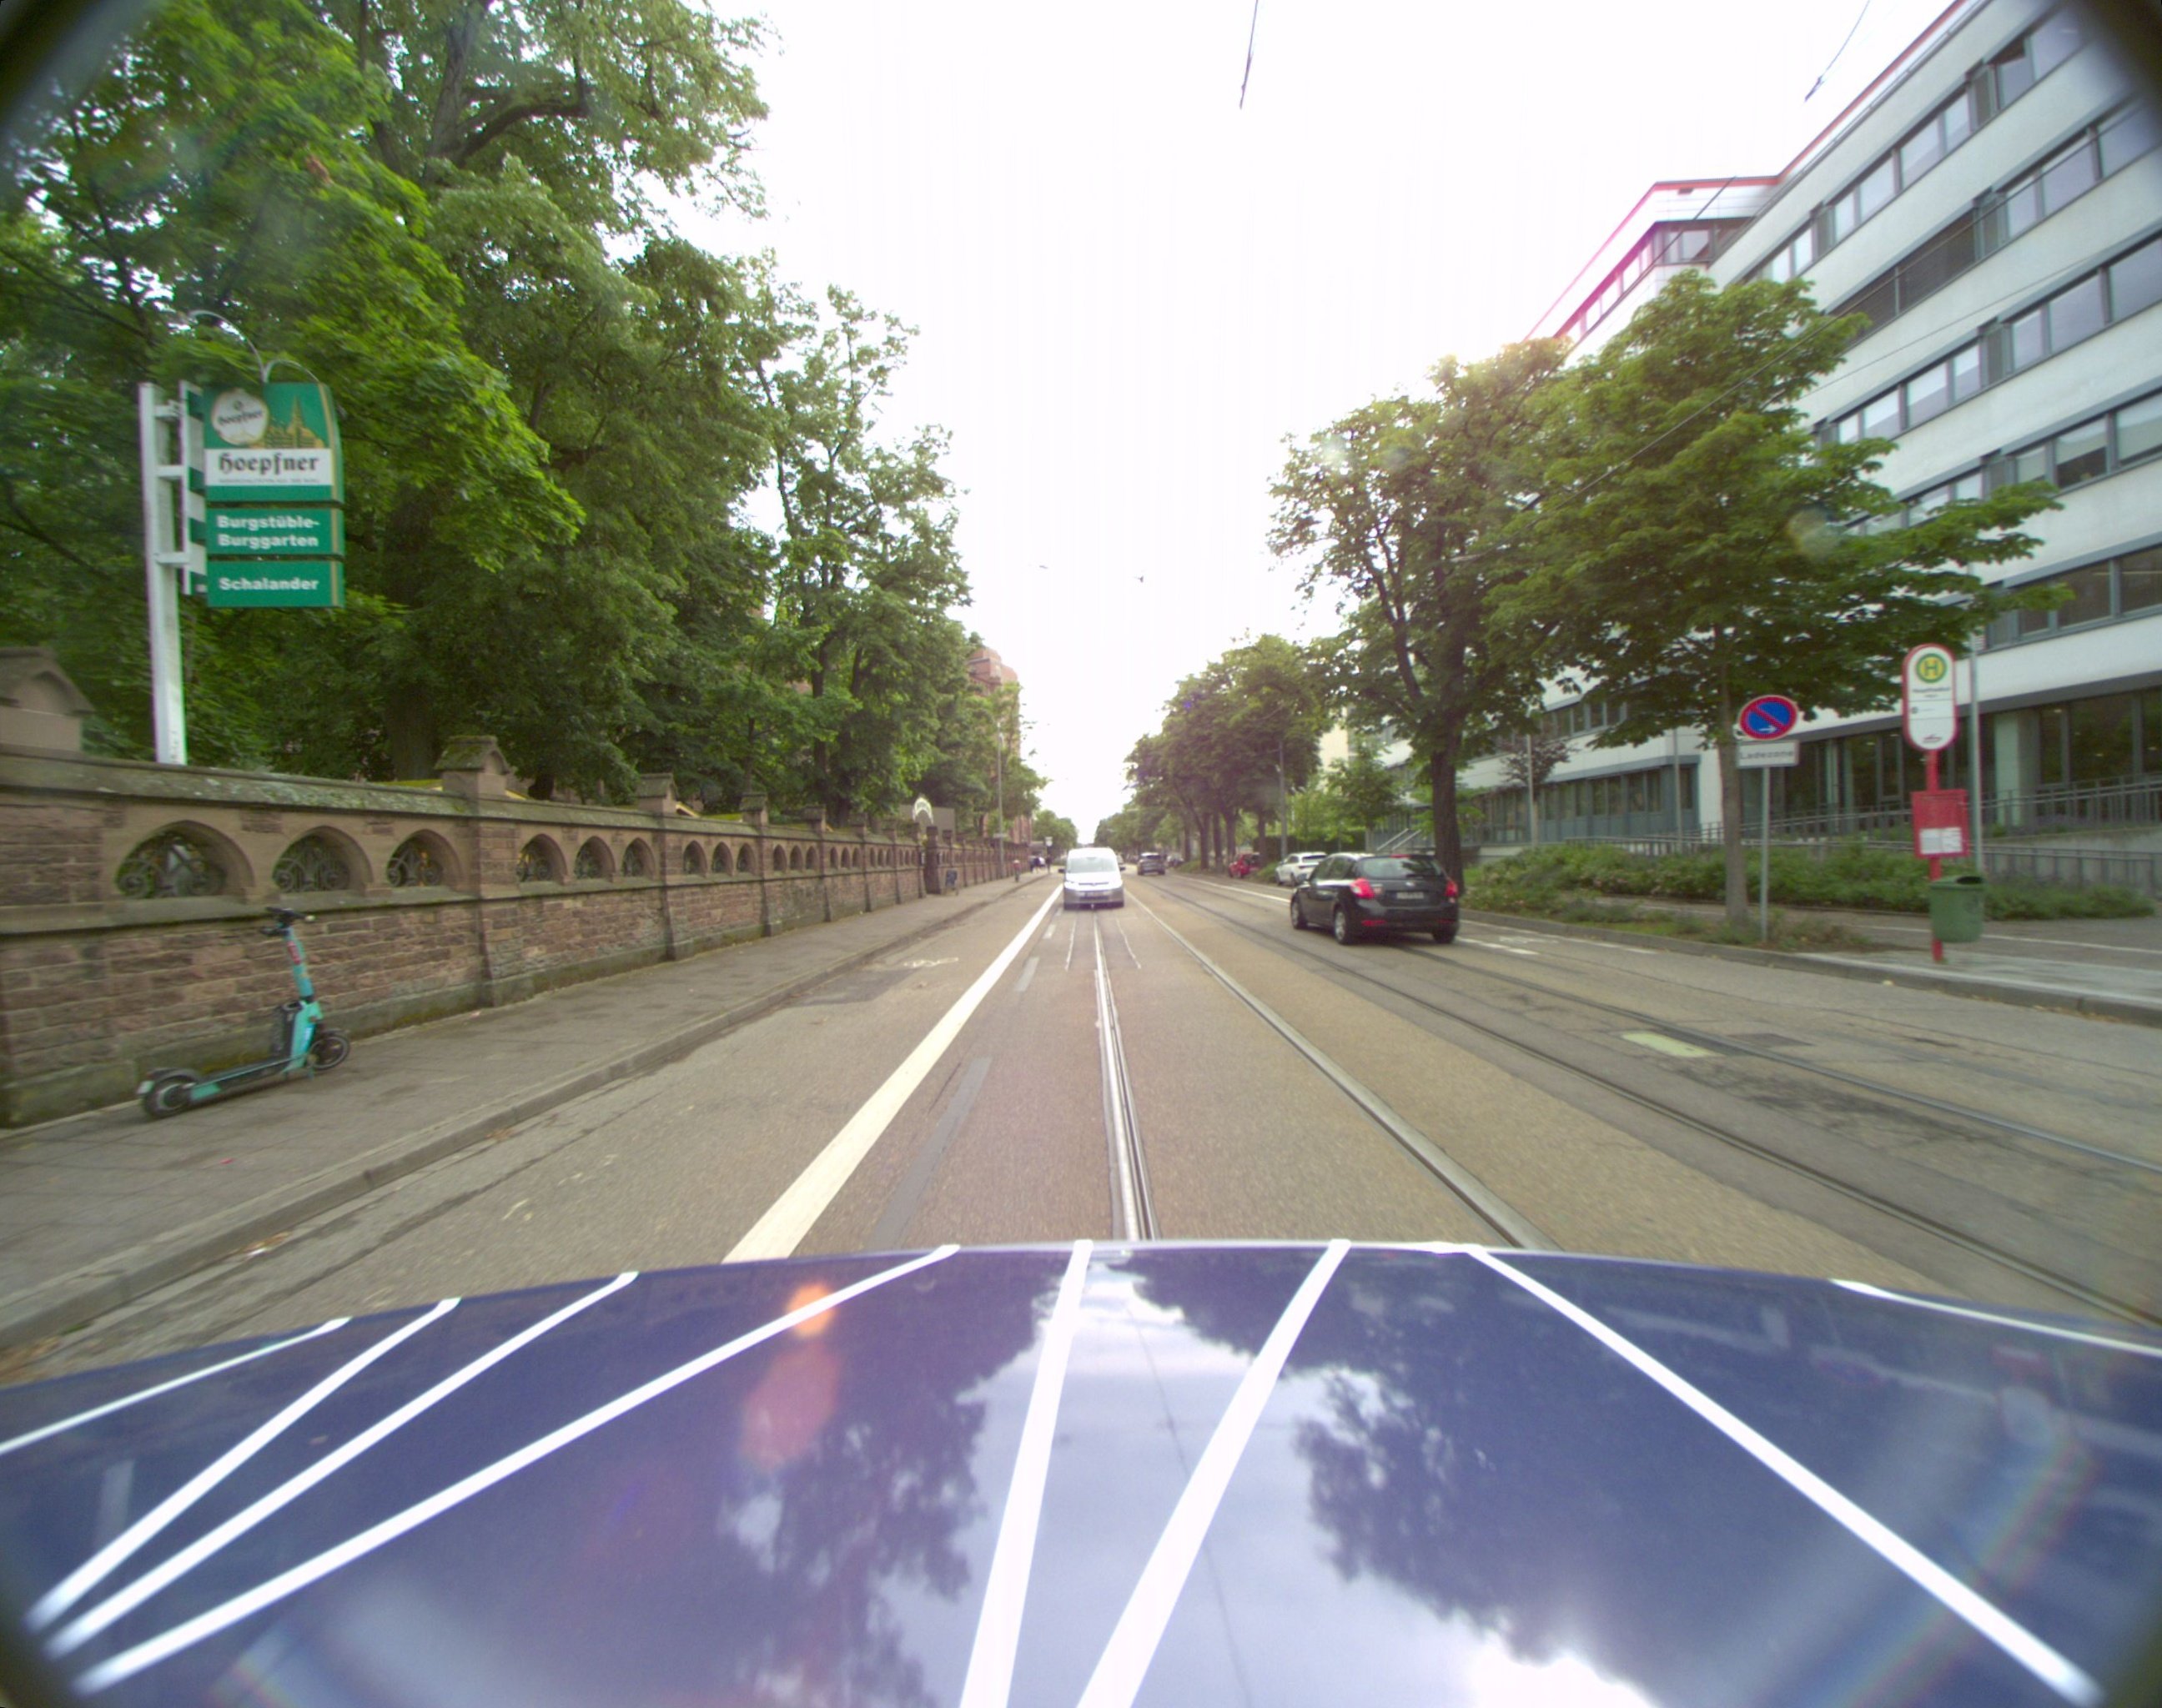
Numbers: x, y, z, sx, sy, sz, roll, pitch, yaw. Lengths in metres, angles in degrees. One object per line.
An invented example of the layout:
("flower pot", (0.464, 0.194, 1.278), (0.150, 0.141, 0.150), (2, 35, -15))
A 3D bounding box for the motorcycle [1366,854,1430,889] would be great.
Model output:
("motorcycle", (10.536, 0.573, 25.293), (1.793, 1.044, 0.732), (-3, 1, -6))

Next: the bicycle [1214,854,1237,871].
("bicycle", (10.380, 0.601, 54.552), (1.473, 1.134, 0.617), (-3, 1, 0))

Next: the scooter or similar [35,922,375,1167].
("scooter or similar", (-5.583, 1.134, 4.976), (0.578, 1.232, 1.410), (1, 1, 1))

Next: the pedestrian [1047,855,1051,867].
("pedestrian", (-4.173, 0.891, 98.839), (0.529, 1.548, 0.489), (2, 1, -2))

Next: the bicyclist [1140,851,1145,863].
("bicyclist", (8.622, 0.404, 106.558), (0.636, 1.528, 0.955), (-3, 1, 5))

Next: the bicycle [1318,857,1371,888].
("bicycle", (10.006, 0.702, 28.868), (1.811, 1.094, 0.632), (-1, 1, -5))

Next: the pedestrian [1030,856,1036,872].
("pedestrian", (-4.859, 0.991, 76.364), (0.559, 1.646, 0.771), (0, 1, -2))

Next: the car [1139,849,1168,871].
("car", (5.410, 0.447, 57.404), (1.846, 1.644, 4.389), (0, 0, 1))

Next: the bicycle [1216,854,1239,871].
("bicycle", (10.422, 0.605, 54.047), (1.473, 1.134, 0.617), (-2, 1, 0))

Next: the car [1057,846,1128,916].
("car", (0.356, 0.724, 23.396), (1.850, 1.797, 4.936), (-3, 1, 1))

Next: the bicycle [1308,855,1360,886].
("bicycle", (9.923, 0.650, 29.845), (1.868, 1.180, 0.632), (-1, 1, 5))

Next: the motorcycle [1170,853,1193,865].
("motorcycle", (9.971, 0.519, 75.276), (2.128, 1.096, 0.776), (-3, 1, 42))

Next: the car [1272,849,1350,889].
("car", (9.831, 0.587, 32.857), (1.886, 1.485, 4.753), (-3, 0, 1))

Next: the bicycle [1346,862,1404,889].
("bicycle", (10.233, 0.743, 26.472), (1.811, 0.894, 0.632), (-1, 1, -5))

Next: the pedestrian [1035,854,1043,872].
("pedestrian", (-4.206, 0.898, 76.405), (0.723, 1.834, 0.897), (0, 1, -2))

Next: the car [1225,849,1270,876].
("car", (10.084, 0.506, 46.278), (1.632, 1.439, 3.756), (-5, 1, -3))

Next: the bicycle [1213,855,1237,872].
("bicycle", (10.080, 0.661, 53.048), (1.474, 1.085, 0.616), (-4, 1, -12))

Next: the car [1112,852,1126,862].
("car", (5.681, 0.418, 112.805), (1.745, 1.490, 4.260), (-2, 0, -1))

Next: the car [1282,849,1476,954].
("car", (4.851, 0.710, 13.014), (1.752, 1.477, 4.063), (-1, -1, 1))

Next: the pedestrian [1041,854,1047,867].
("pedestrian", (-4.809, 0.806, 98.795), (0.669, 1.703, 0.997), (2, 1, -2))

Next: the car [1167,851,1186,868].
("car", (10.511, 0.556, 84.055), (1.815, 1.699, 4.000), (-3, 1, 4))
